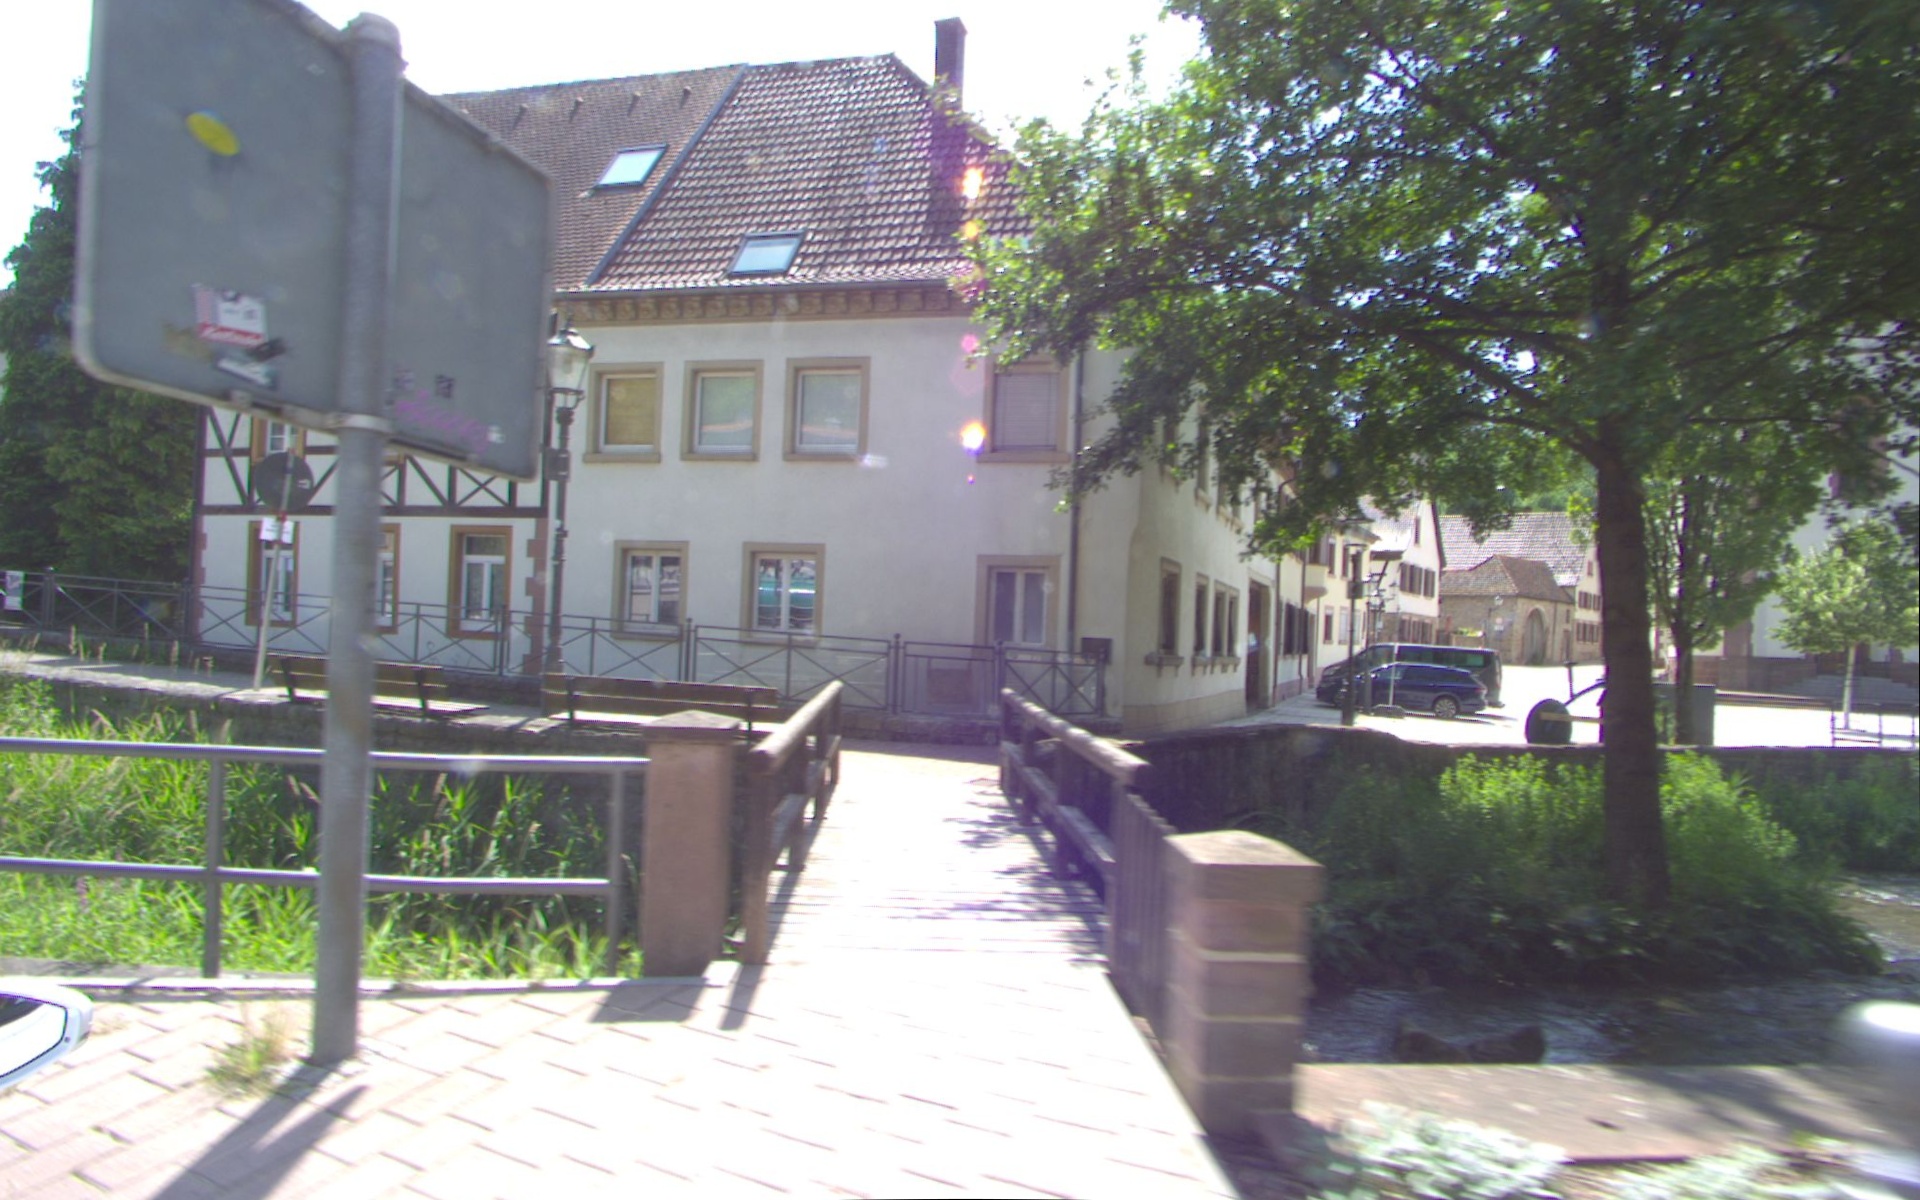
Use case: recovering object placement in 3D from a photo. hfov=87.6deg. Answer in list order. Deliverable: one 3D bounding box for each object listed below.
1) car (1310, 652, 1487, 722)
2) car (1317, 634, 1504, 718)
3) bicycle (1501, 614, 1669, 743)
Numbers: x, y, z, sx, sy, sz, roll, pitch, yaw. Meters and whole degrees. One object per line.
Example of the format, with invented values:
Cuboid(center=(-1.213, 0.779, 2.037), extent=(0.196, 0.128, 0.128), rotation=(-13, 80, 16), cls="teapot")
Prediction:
Cuboid(center=(12.561, 2.455, 28.804), extent=(4.466, 1.501, 1.584), rotation=(4, 1, 26), cls="car")
Cuboid(center=(13.949, 2.282, 31.179), extent=(5.039, 2.054, 1.953), rotation=(4, 1, 26), cls="car")
Cuboid(center=(10.510, 1.342, 16.859), extent=(2.618, 2.037, 0.783), rotation=(3, -4, -14), cls="bicycle")
